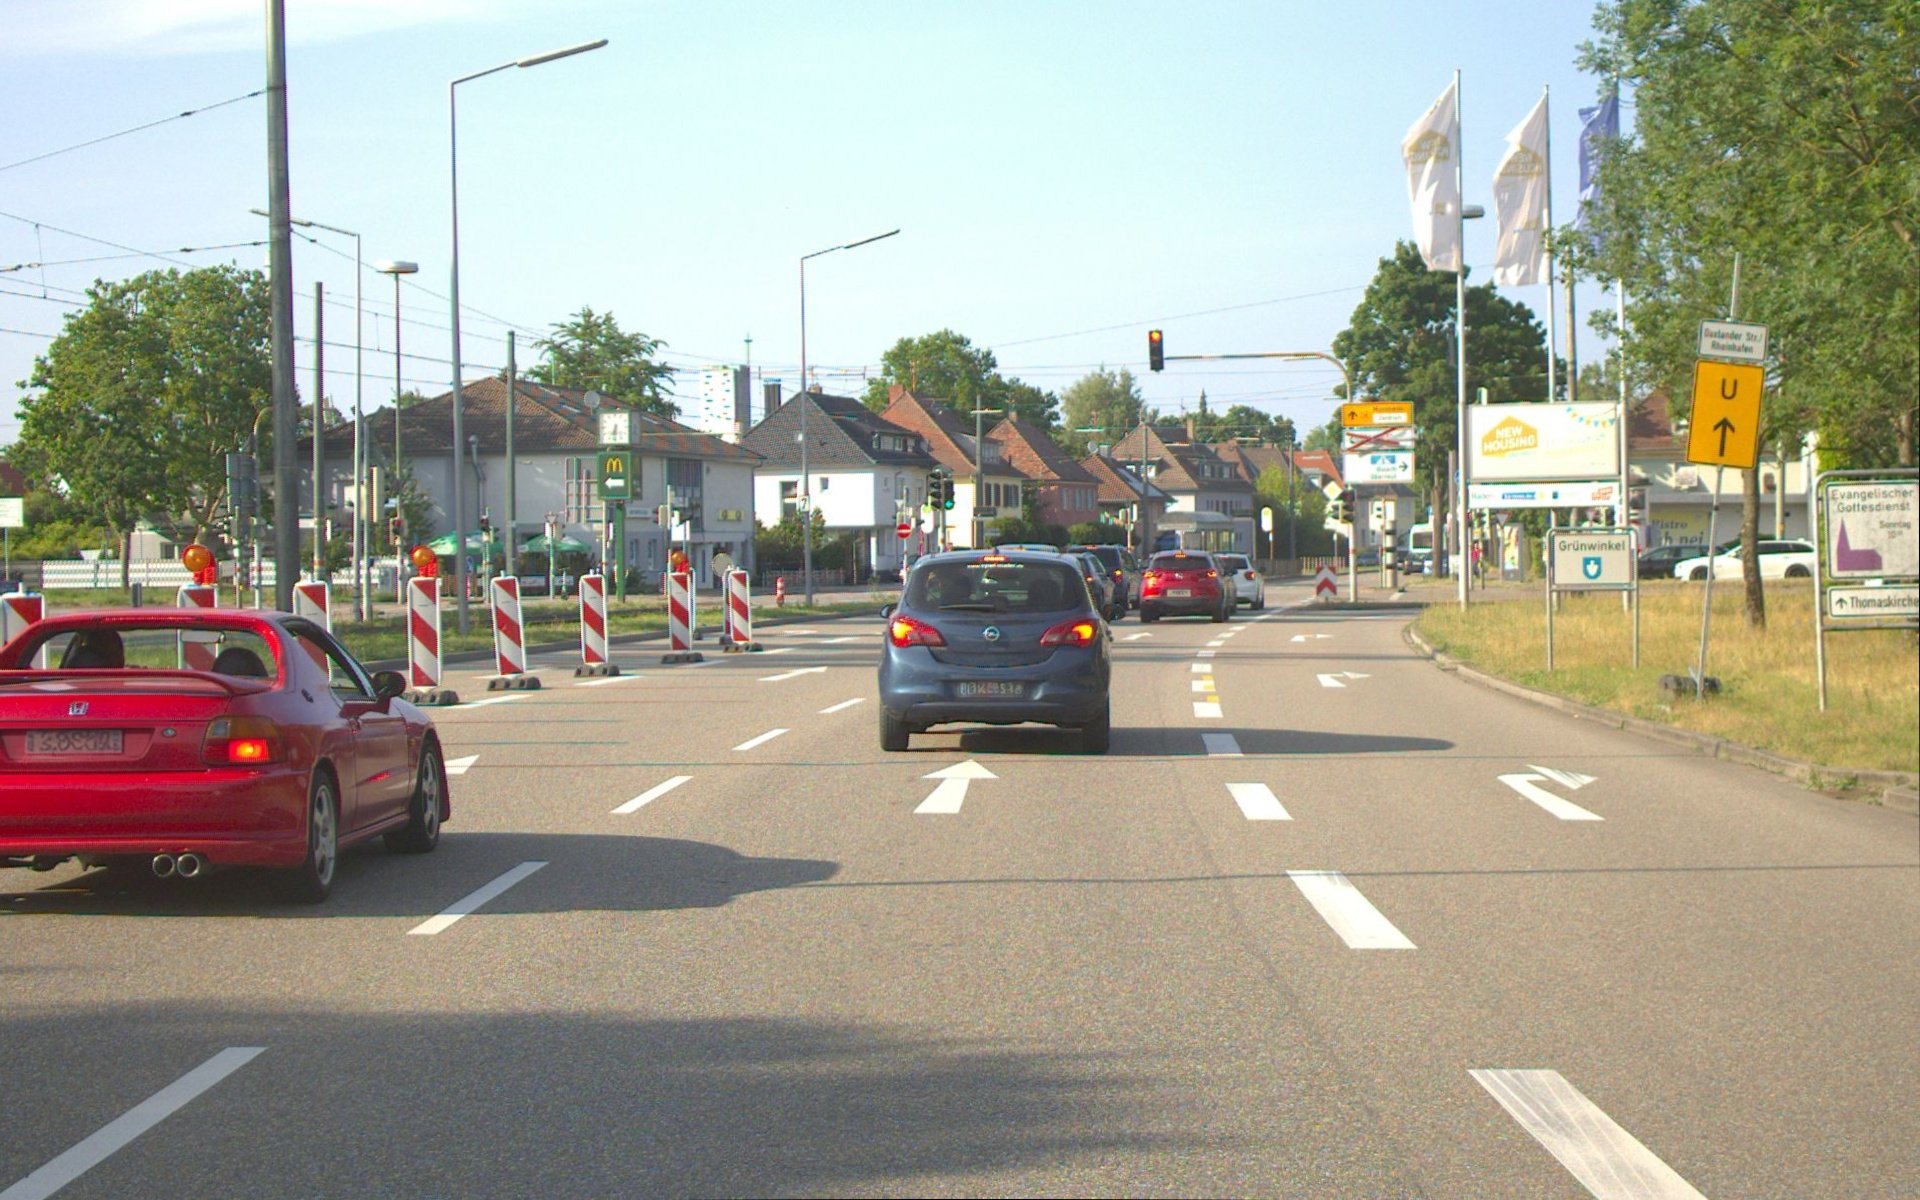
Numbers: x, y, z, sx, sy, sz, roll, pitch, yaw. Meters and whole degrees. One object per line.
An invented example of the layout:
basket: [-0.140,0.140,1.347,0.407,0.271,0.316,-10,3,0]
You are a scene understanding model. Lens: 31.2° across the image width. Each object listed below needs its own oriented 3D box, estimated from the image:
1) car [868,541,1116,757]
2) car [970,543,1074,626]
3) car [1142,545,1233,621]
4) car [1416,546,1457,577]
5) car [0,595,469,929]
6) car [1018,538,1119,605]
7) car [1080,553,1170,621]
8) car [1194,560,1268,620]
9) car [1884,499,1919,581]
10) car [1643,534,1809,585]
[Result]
car: [0.251,0.312,26.471,1.741,1.500,4.223,-1,1,1]
car: [1.305,-0.350,71.132,1.764,1.665,4.083,0,1,7]
car: [4.883,-0.386,73.555,1.707,1.546,3.977,-1,1,7]
car: [22.097,-1.786,159.371,1.675,1.393,3.998,1,0,10]
car: [-3.397,0.628,15.301,1.731,1.202,3.847,1,1,2]
car: [2.557,-0.682,79.897,1.700,1.503,4.552,0,1,10]
car: [4.211,-0.352,87.287,1.507,1.645,4.742,-1,1,12]
car: [6.882,-0.281,86.938,1.656,1.438,4.013,-1,1,7]
car: [32.543,-1.923,108.758,6.210,2.575,1.999,-1,1,10]
car: [24.487,-1.290,110.095,5.097,1.558,1.839,-1,1,11]
